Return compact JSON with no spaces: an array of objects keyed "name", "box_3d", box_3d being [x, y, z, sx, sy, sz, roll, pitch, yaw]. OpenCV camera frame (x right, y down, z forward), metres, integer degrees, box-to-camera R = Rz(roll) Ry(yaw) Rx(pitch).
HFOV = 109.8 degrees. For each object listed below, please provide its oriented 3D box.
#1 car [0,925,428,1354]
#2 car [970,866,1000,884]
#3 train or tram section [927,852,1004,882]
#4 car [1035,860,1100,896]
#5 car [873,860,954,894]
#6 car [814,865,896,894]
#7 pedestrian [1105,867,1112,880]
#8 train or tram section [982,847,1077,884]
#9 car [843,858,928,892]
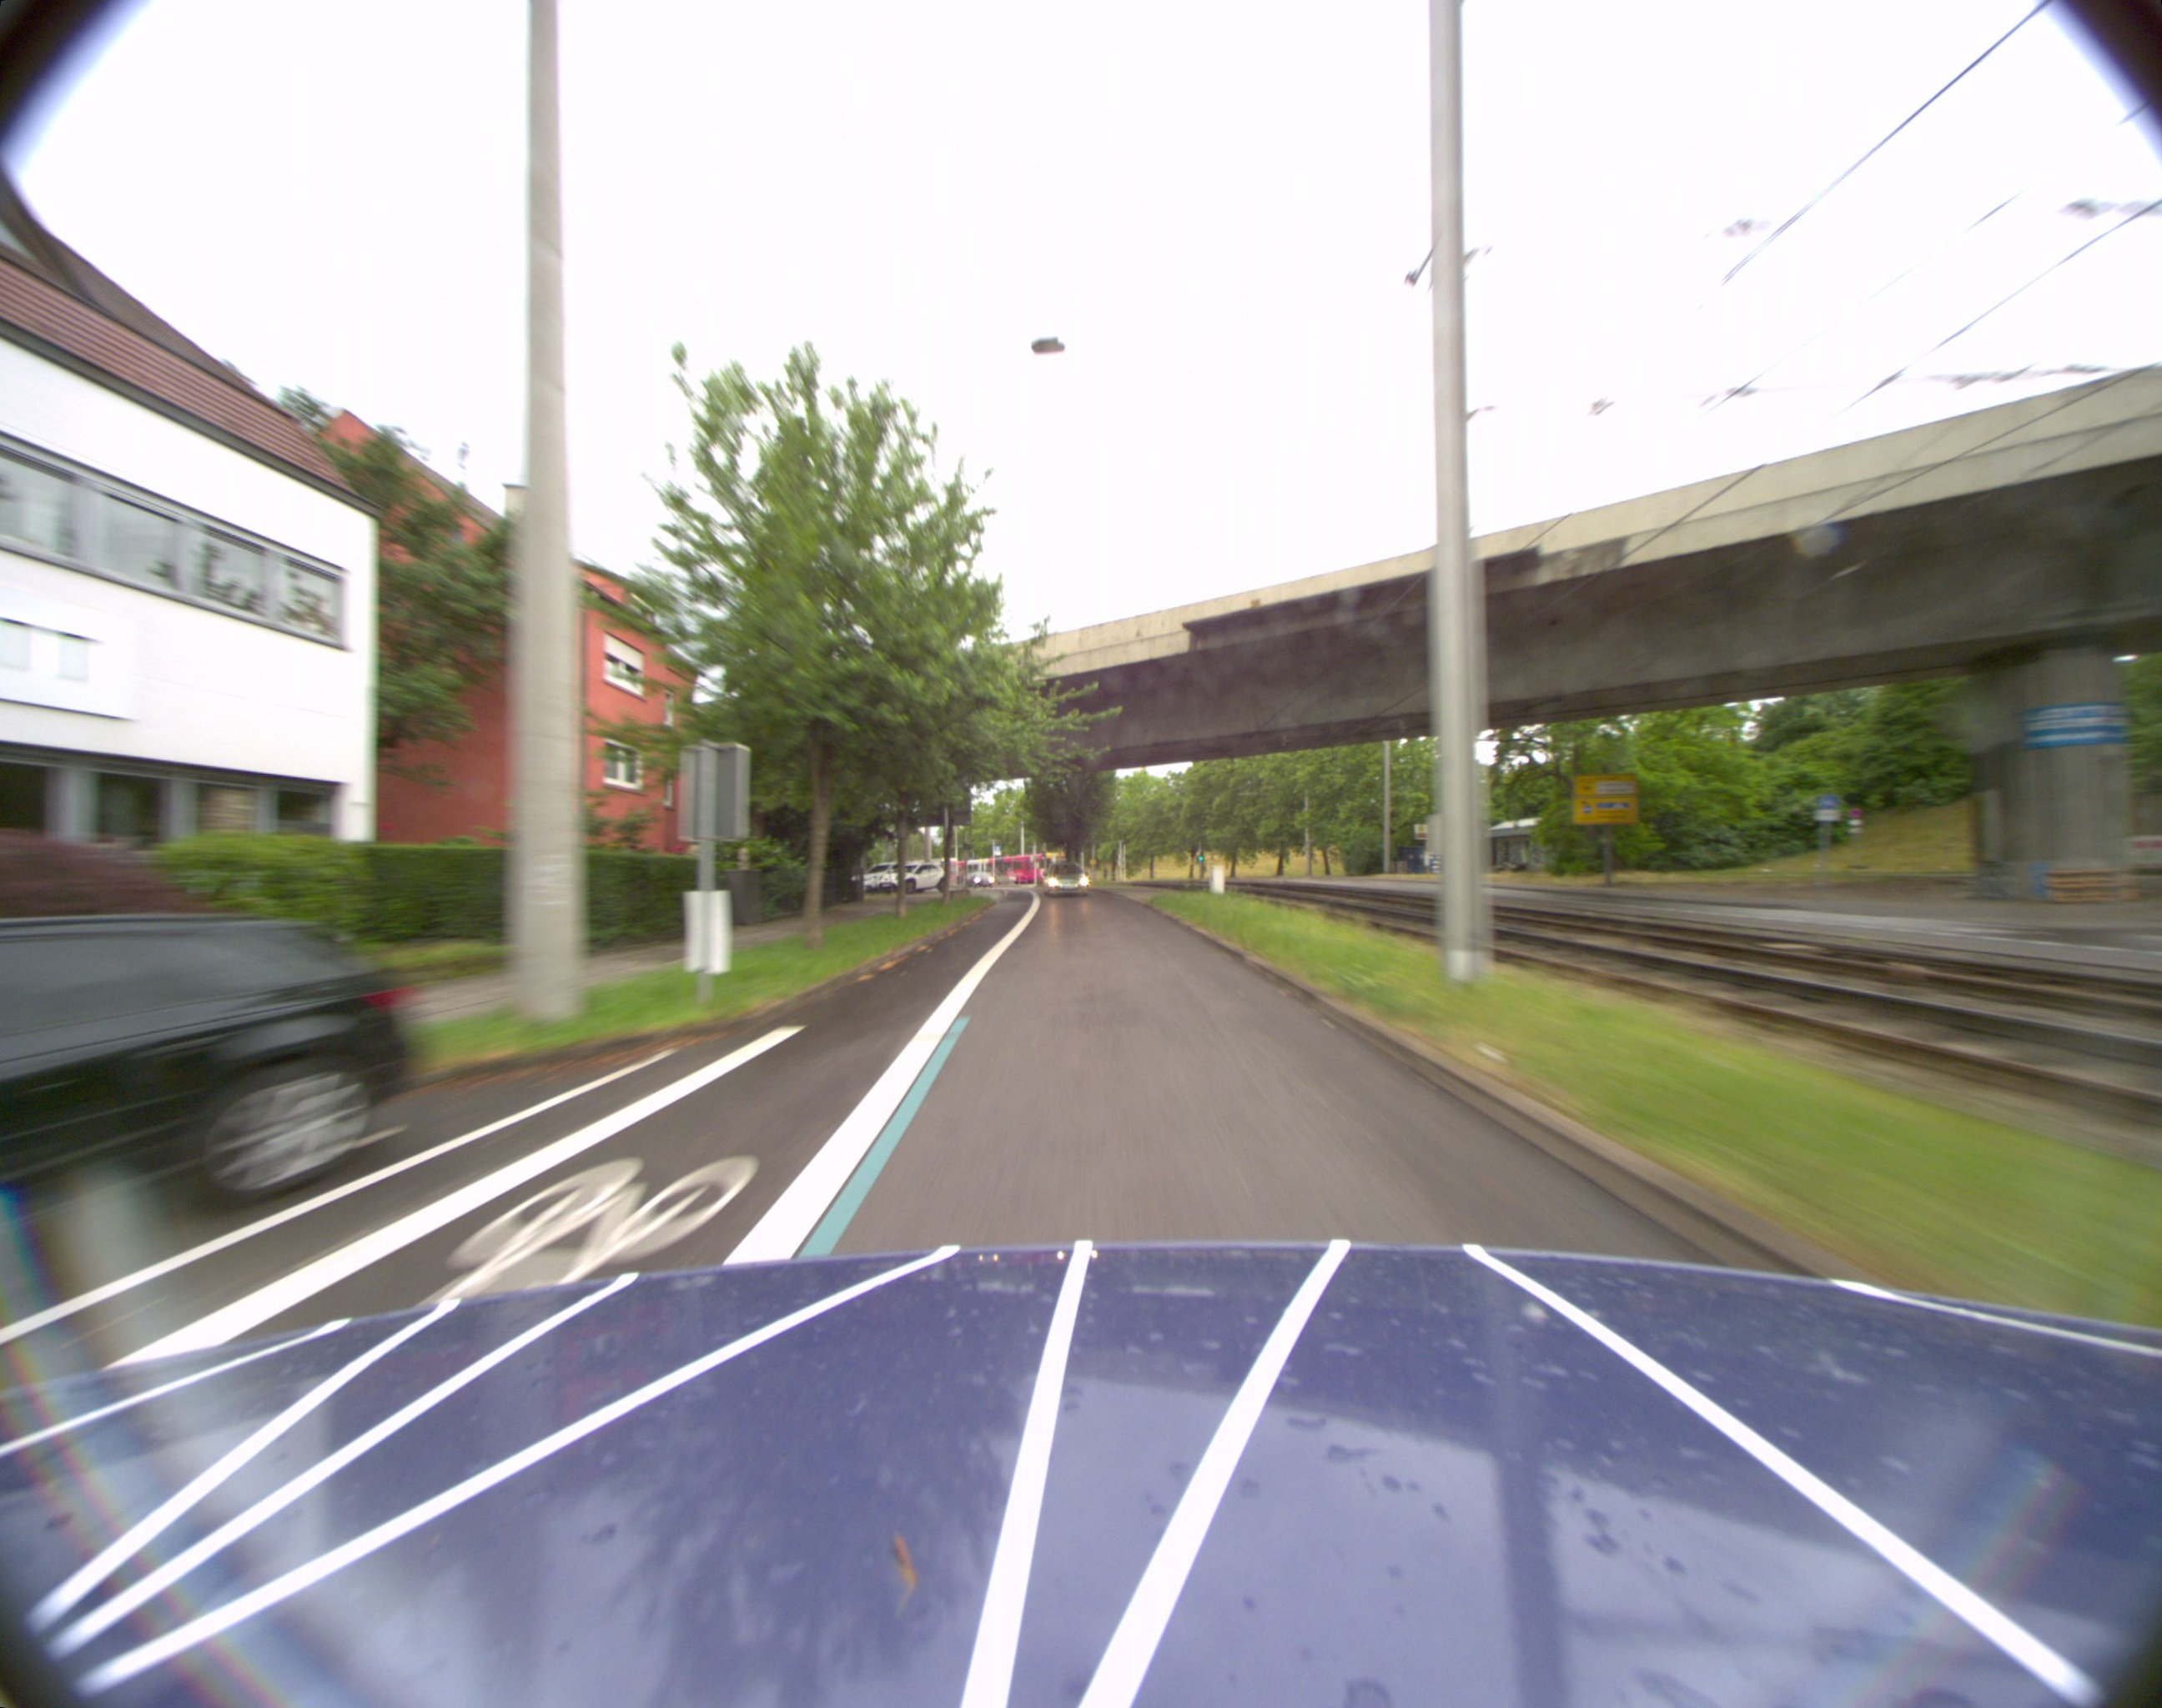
[{"name":"car","box_3d":[-4.849,1.153,2.255,1.681,1.414,4.566,-2,0,3]},{"name":"car","box_3d":[-8.751,1.875,68.882,1.783,1.493,3.993,-1,0,-21]},{"name":"train or tram section","box_3d":[-16.876,1.978,108.720,2.882,3.947,19.285,-3,0,-33]},{"name":"car","box_3d":[-0.670,1.044,33.170,1.783,1.492,3.995,0,-2,-18]},{"name":"car","box_3d":[-8.172,1.105,37.370,1.798,1.513,3.743,-2,-1,30]},{"name":"car","box_3d":[-12.159,1.337,41.101,1.782,1.431,4.058,-3,-1,30]},{"name":"pedestrian","box_3d":[3.909,2.787,109.483,0.731,1.810,0.763,-2,-1,-17]},{"name":"train or tram section","box_3d":[-6.736,1.475,92.491,2.881,3.937,19.287,-3,0,-31]},{"name":"car","box_3d":[-10.054,1.074,39.297,1.962,1.621,4.032,-2,-1,30]}]
